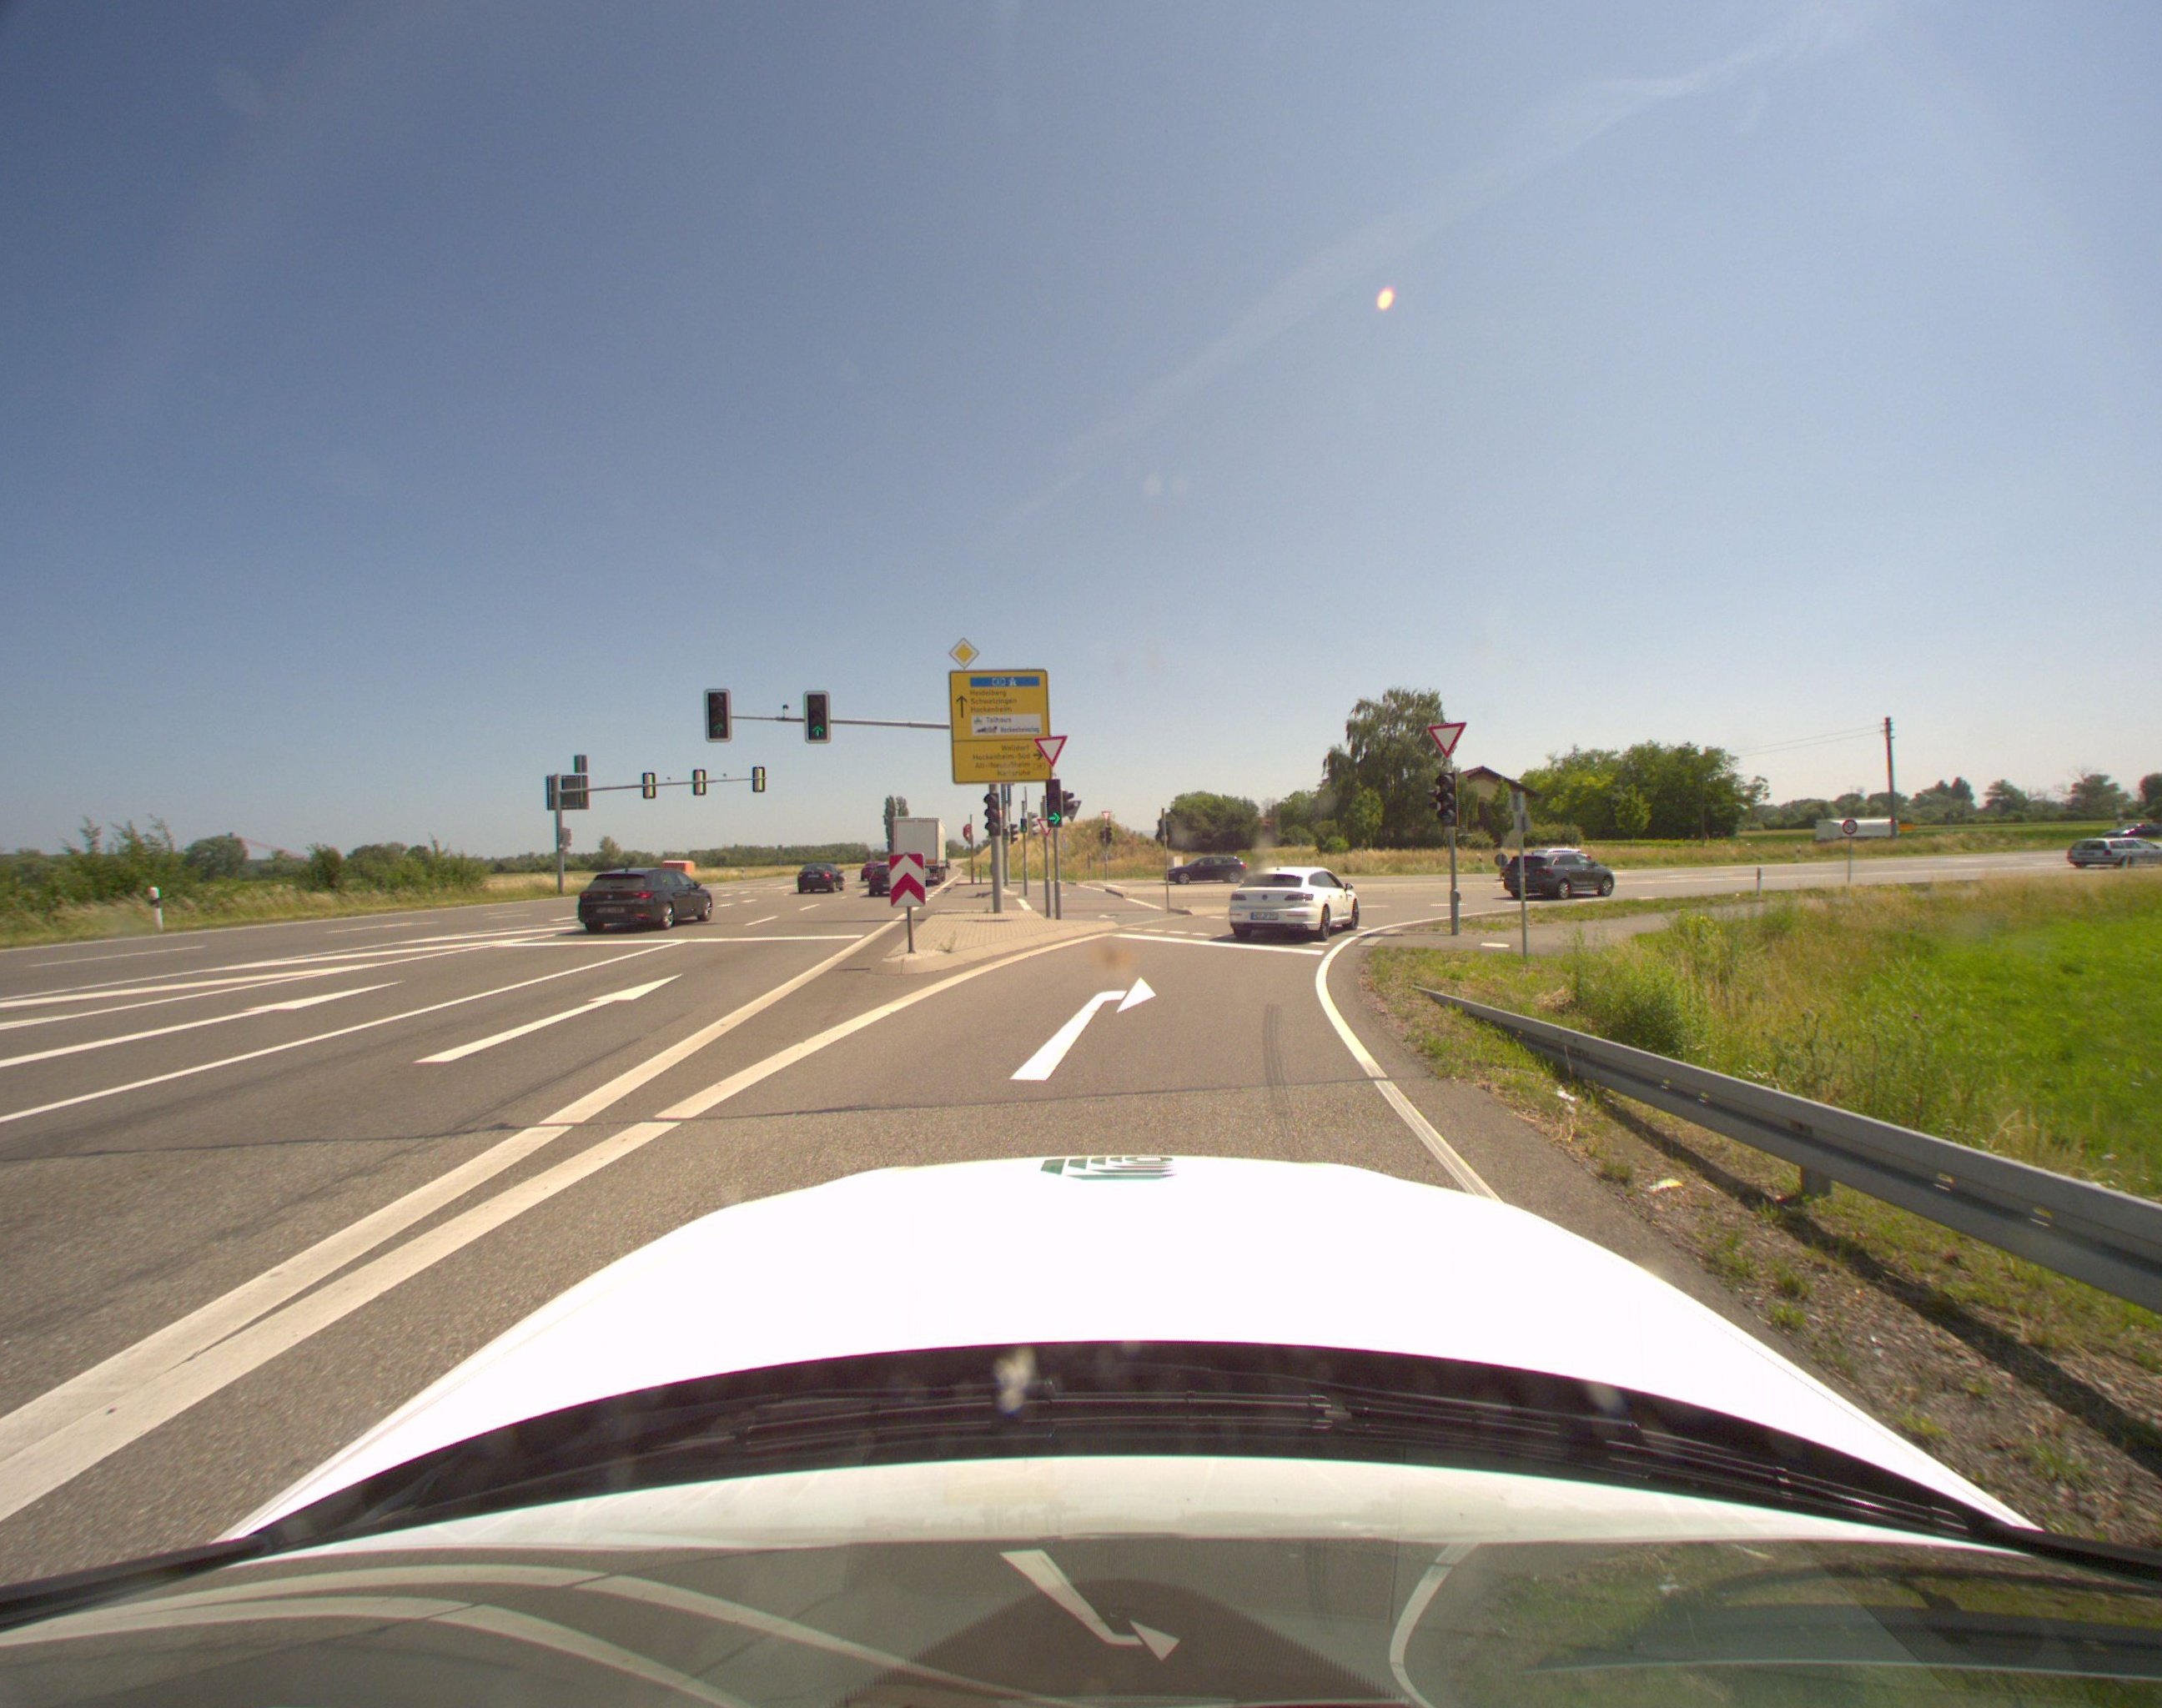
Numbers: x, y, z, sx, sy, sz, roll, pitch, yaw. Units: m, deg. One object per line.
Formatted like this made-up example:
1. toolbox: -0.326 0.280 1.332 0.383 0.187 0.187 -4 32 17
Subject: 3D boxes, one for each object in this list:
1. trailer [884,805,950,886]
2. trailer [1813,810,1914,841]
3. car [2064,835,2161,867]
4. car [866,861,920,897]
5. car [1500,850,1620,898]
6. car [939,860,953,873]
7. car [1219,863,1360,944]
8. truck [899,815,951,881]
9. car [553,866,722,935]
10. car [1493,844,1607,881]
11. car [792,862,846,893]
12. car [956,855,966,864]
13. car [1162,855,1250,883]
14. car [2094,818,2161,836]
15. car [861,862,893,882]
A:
1. trailer: -10.294 -0.445 52.453 3.379 4.543 12.835 0 -1 -8
2. trailer: 68.068 -2.477 70.950 6.344 2.455 2.685 -2 1 -2
3. car: 49.696 -0.136 38.807 4.078 1.429 1.800 -1 -1 -9
4. car: -8.256 1.056 36.104 1.782 1.431 4.372 0 0 -6
5. car: 17.510 0.704 29.728 4.393 1.616 1.921 0 -1 -32
6. car: -20.017 1.798 120.629 1.980 1.894 4.452 -1 -1 -9
7. car: 4.531 0.931 17.144 1.830 1.433 4.636 -1 -1 28
8. truck: -11.251 -0.386 59.350 3.379 4.543 6.354 0 -1 -8
9. car: -10.524 1.040 19.768 1.886 1.447 4.518 -1 -1 -5
10. car: 22.737 0.384 39.579 4.529 1.543 1.869 -2 1 -5
11. car: -12.819 1.132 40.137 1.673 1.412 4.456 -1 -1 -7
12. car: -25.479 1.183 173.200 1.980 1.869 4.452 -1 -1 -9
13. car: 6.388 0.754 41.981 4.250 1.368 1.774 0 1 -3
14. car: 87.902 -2.241 68.298 3.811 1.387 1.680 -1 1 2
15. car: -15.495 1.308 62.041 1.747 1.421 4.554 0 0 -7
